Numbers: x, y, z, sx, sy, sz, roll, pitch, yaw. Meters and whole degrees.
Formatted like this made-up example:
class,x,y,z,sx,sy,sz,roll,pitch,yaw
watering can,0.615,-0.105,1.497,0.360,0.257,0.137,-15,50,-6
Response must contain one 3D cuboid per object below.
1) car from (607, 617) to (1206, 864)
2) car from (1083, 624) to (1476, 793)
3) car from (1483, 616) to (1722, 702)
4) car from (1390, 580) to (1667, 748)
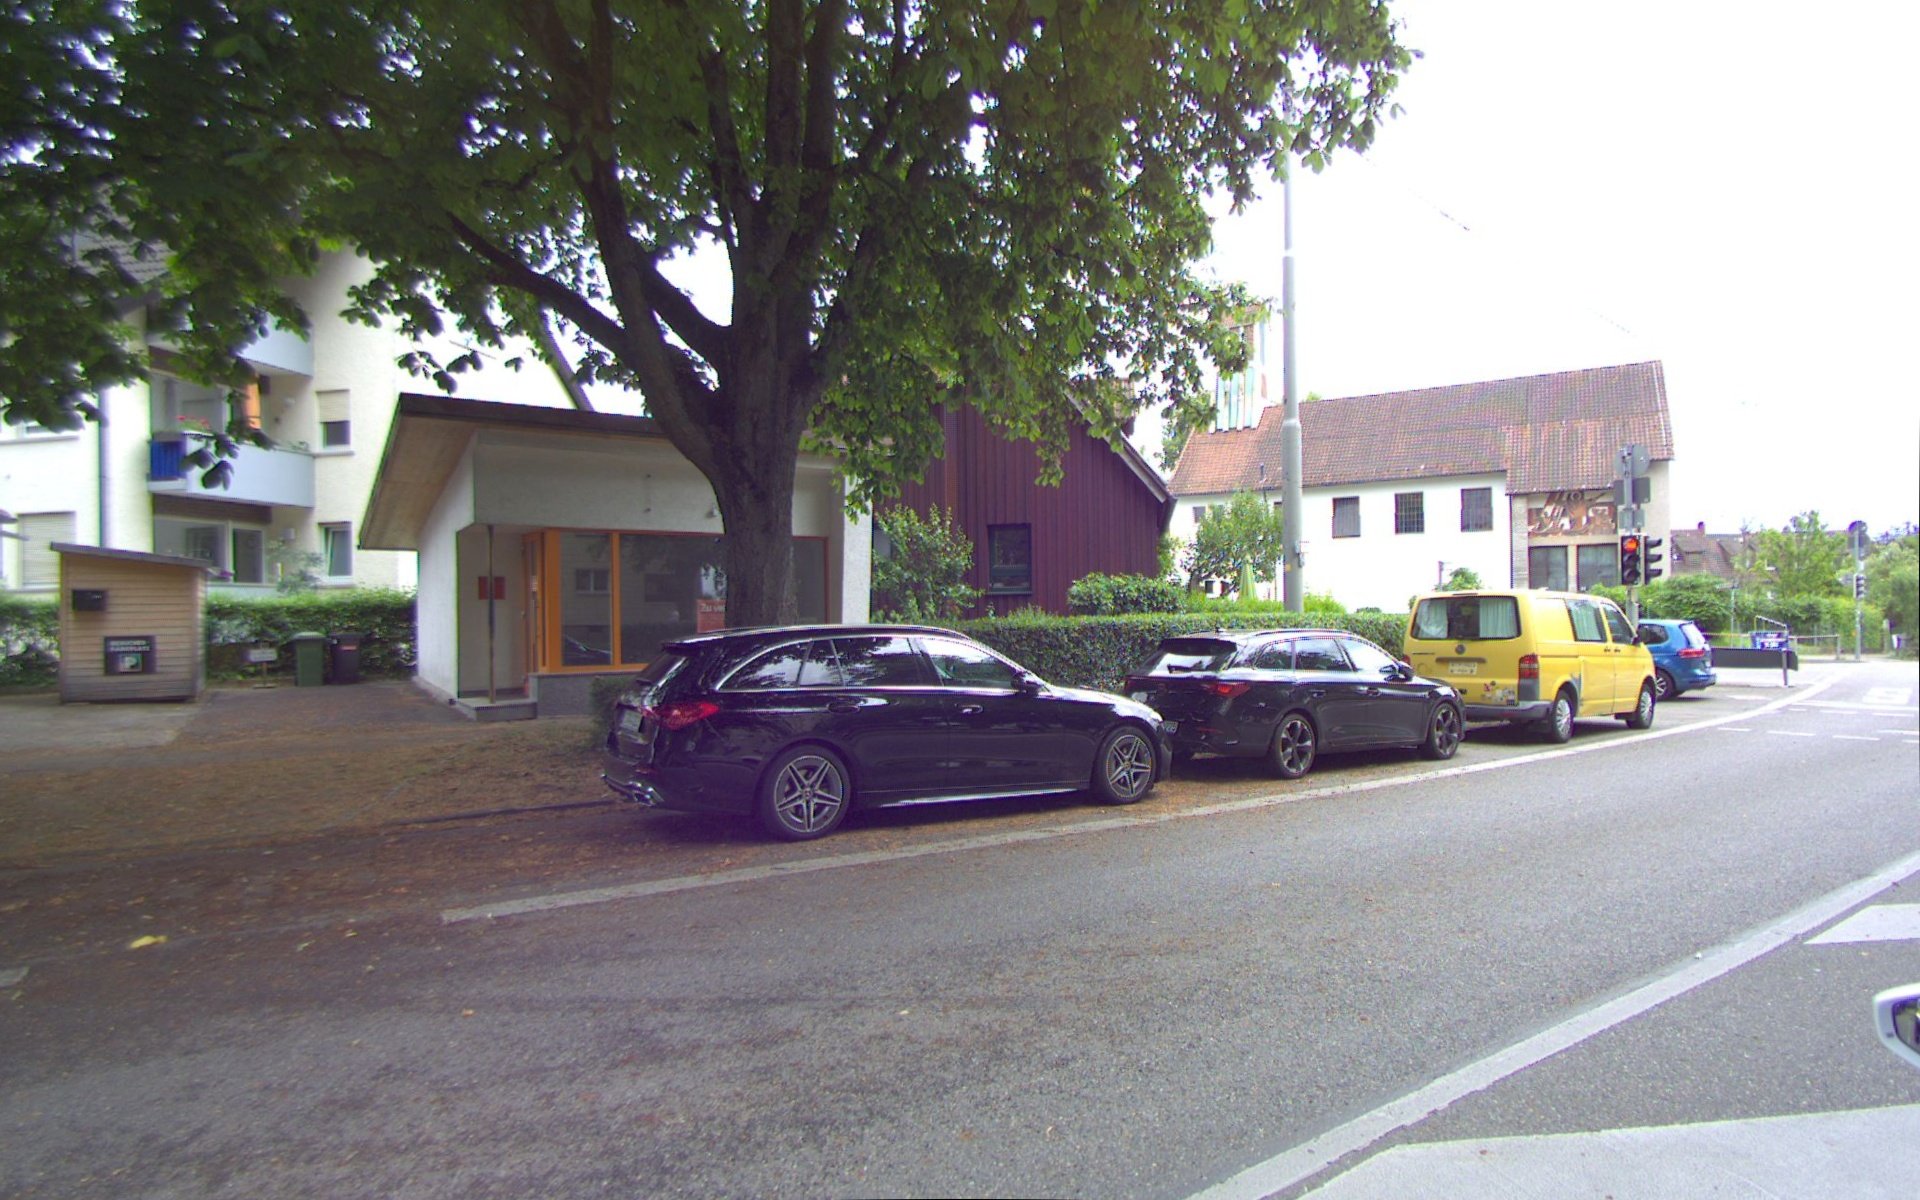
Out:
class,x,y,z,sx,sy,sz,roll,pitch,yaw
car,-0.336,0.924,8.266,4.563,1.520,1.983,1,-2,-32
car,3.573,1.018,10.899,4.496,1.505,1.680,1,-2,-35
car,13.437,1.220,21.163,3.946,1.632,1.807,-3,-3,44
car,8.219,0.841,14.374,4.525,2.040,1.869,1,-2,-38
